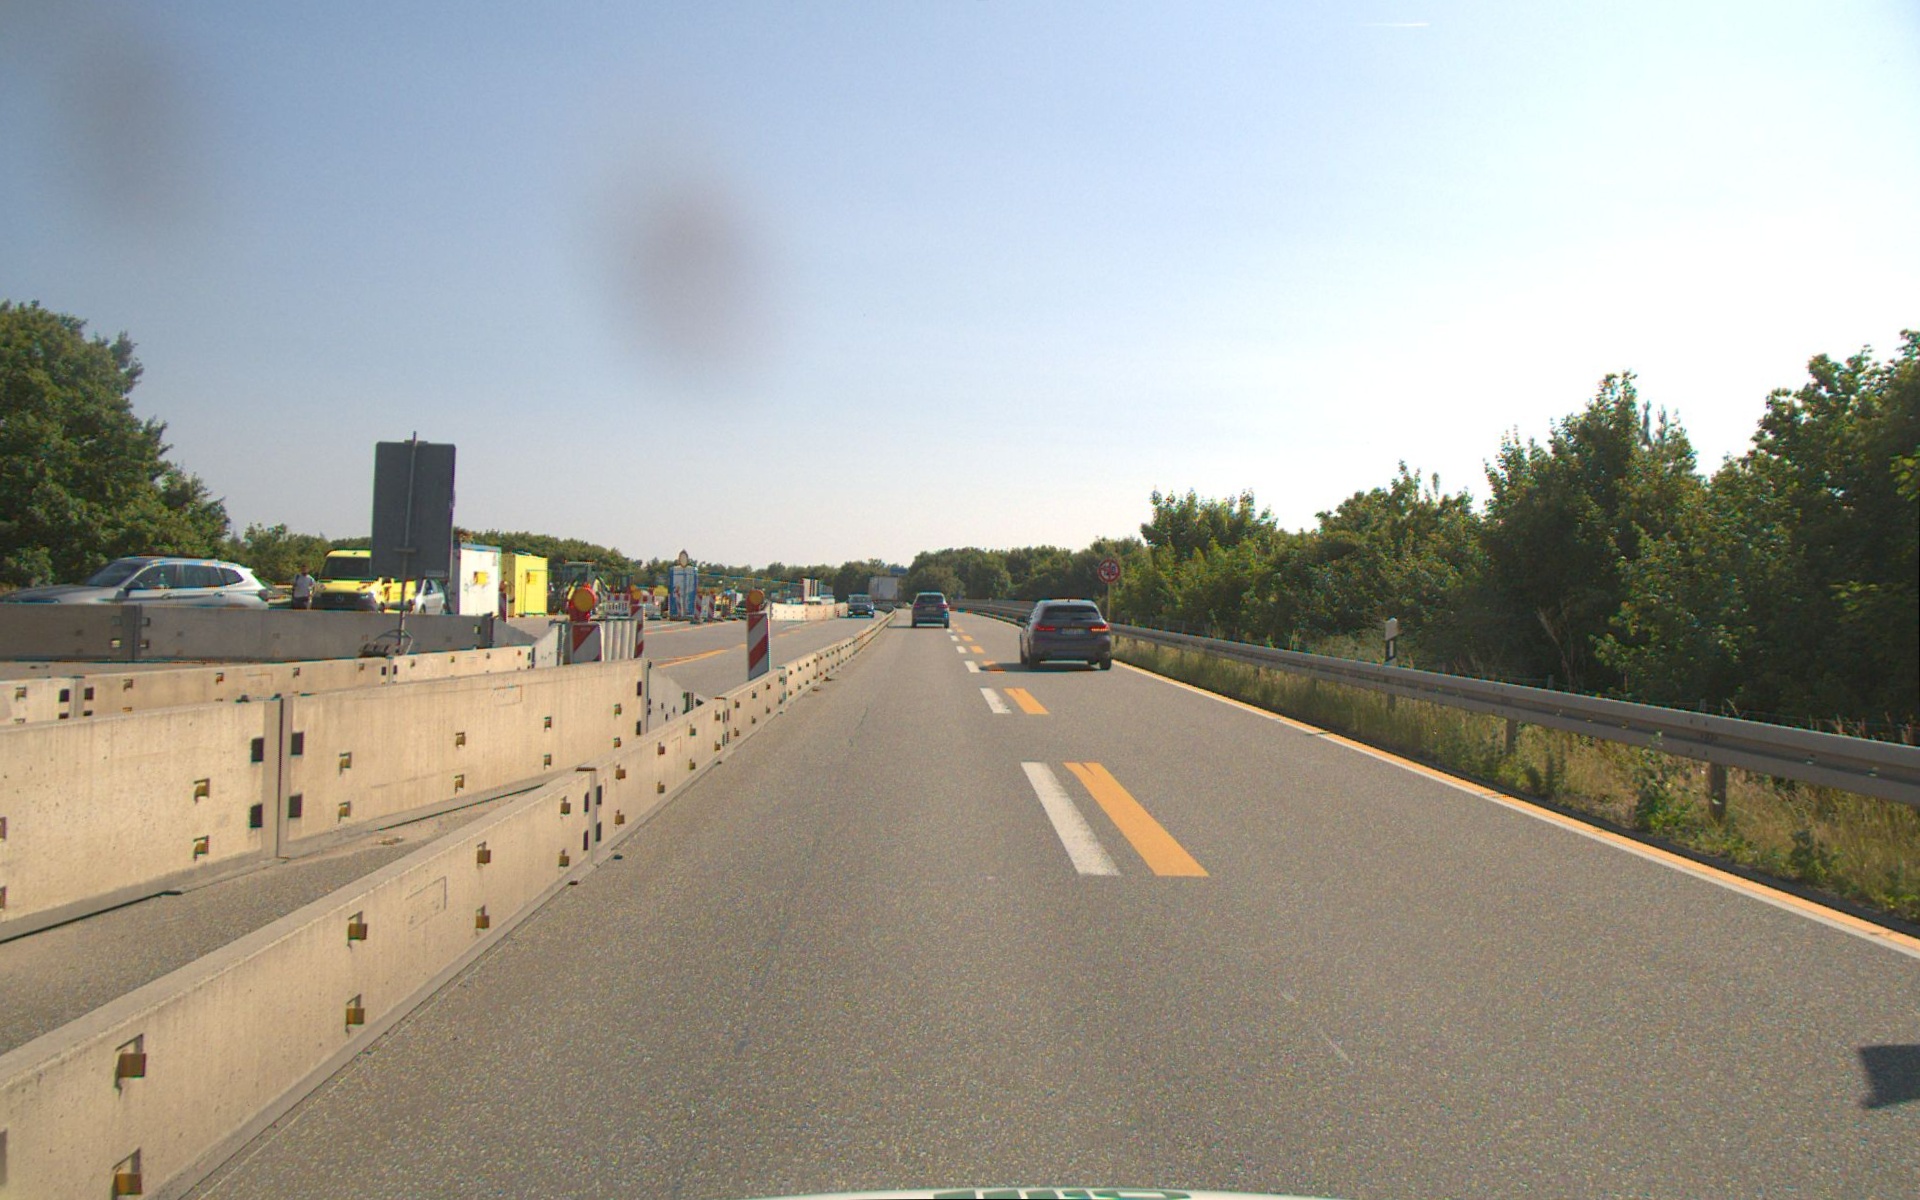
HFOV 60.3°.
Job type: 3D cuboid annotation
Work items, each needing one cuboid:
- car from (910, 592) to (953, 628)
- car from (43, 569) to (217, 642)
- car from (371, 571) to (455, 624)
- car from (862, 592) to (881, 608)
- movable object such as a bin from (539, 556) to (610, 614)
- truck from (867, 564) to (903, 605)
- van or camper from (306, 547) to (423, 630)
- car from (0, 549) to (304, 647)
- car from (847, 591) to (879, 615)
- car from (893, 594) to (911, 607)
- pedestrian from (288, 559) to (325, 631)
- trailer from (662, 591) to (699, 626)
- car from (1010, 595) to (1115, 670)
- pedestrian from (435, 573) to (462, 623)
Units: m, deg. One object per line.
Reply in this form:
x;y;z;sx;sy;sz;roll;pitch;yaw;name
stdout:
-1.325;0.454;77.635;1.953;1.594;4.000;0;0;0;car
-18.401;0.105;36.901;1.825;1.485;4.294;1;0;-3;car
-18.810;-0.097;57.064;1.654;1.715;4.455;2;0;-4;car
-9.790;-0.041;183.004;1.943;1.680;4.545;1;0;-4;car
-19.006;-0.732;81.830;1.988;2.763;5.110;0;0;4;movable object such as a bin
-9.734;-1.967;212.441;3.688;4.997;14.119;1;0;-6;truck
-18.463;-0.346;51.568;1.955;2.419;6.194;0;0;-6;van or camper
-14.905;-0.022;30.600;1.960;1.650;4.829;2;0;36;car
-6.405;0.216;109.492;1.821;1.499;4.683;2;0;-1;car
-7.839;0.096;224.595;1.956;1.717;3.992;1;0;-9;car
-17.177;-0.125;43.469;0.728;1.852;0.795;2;0;-12;pedestrian
-14.248;0.399;84.439;1.687;1.677;3.528;2;0;-8;trailer
2.172;0.659;35.954;1.882;1.520;3.998;1;0;-2;car
-18.547;-0.081;60.013;0.708;1.792;0.720;2;0;-2;pedestrian
